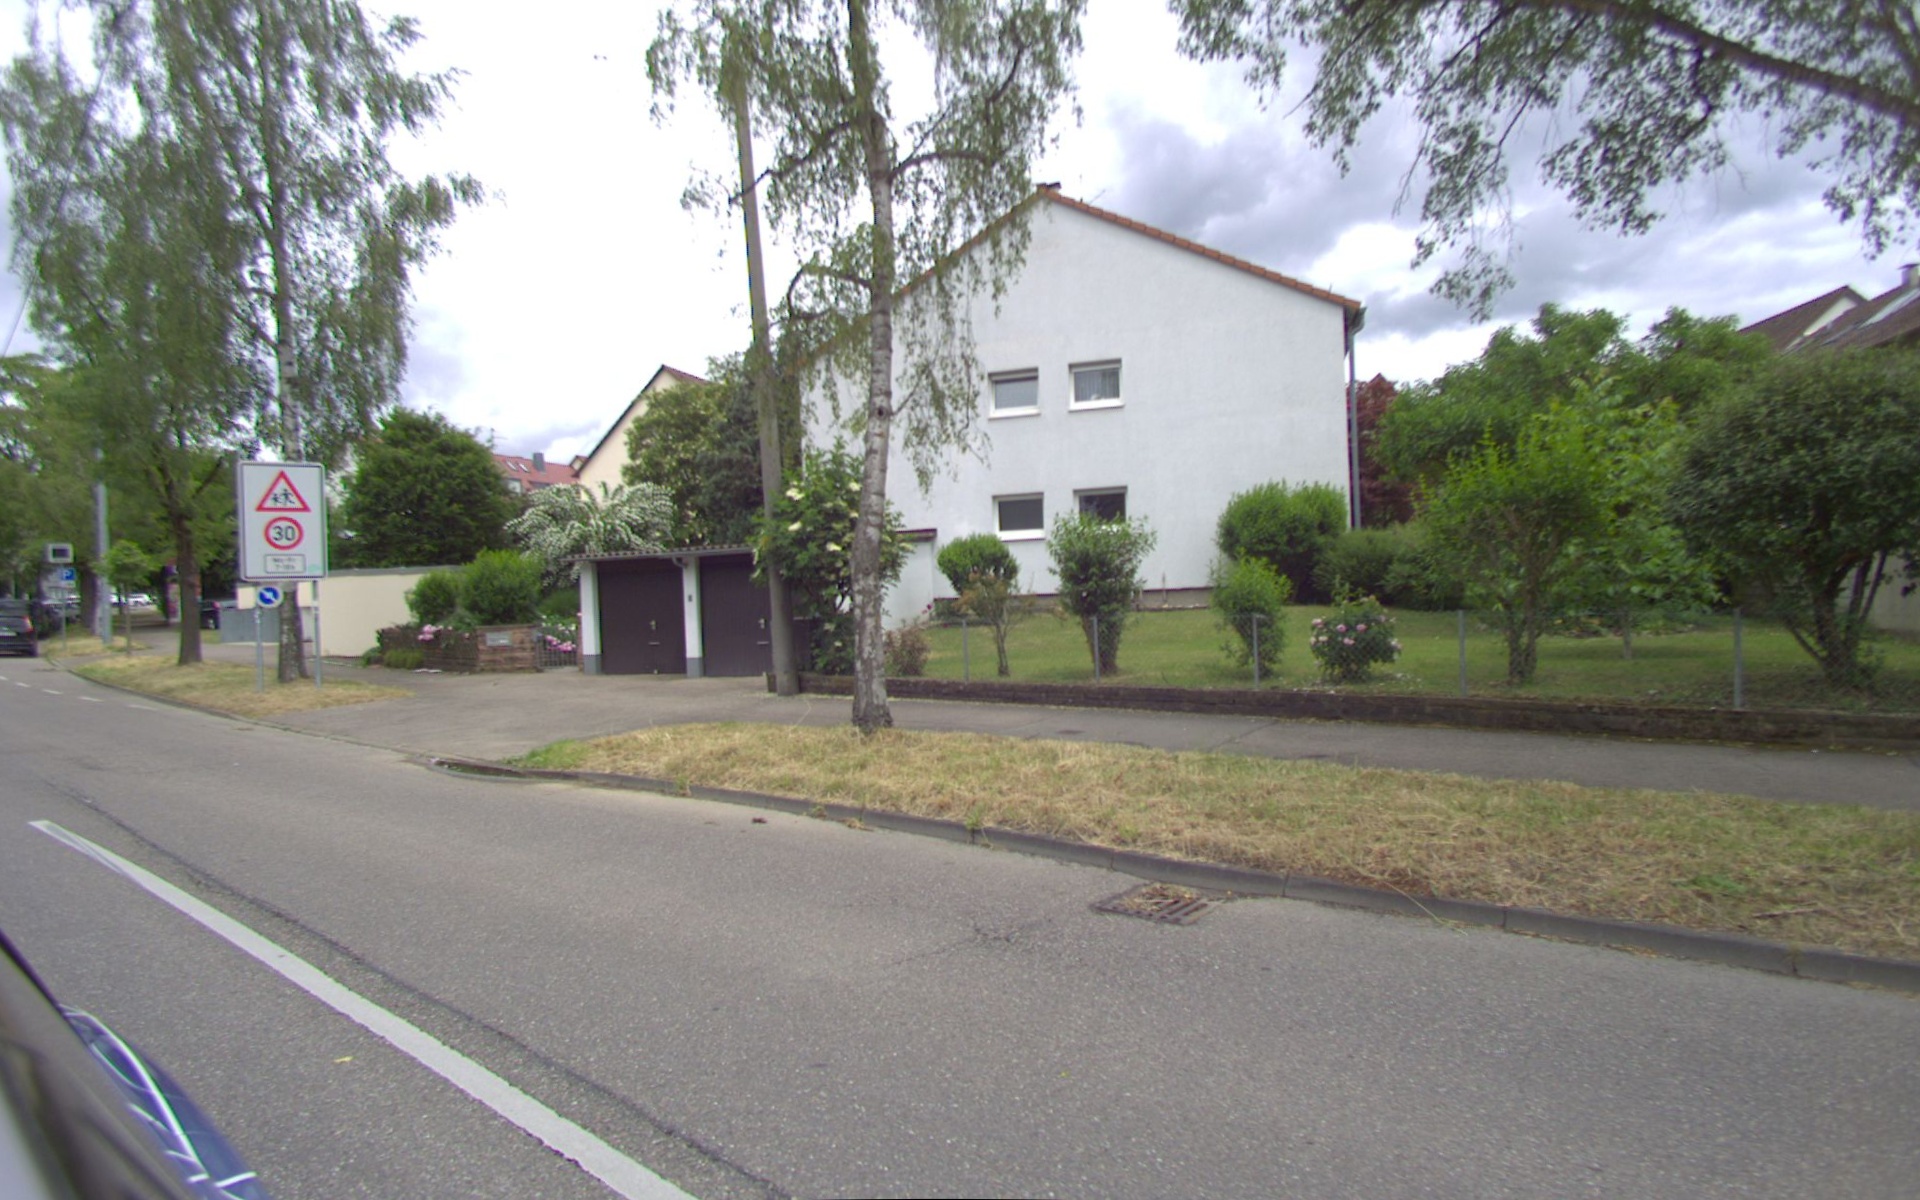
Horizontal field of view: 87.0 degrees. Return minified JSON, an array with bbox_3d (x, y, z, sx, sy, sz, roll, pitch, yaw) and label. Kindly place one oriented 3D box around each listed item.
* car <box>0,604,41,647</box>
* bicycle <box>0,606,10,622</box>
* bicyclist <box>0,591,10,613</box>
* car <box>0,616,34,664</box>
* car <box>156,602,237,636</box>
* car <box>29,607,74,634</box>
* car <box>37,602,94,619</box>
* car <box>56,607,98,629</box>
[{"bbox_3d":[-45.043,1.166,48.063,1.835,1.923,5.091,-1,0,-40],"label":"car"},{"bbox_3d":[-77.412,1.099,81.772,0.637,1.246,1.882,-2,1,-34],"label":"bicycle"},{"bbox_3d":[-77.768,0.149,82.246,0.637,1.792,0.630,-1,1,-34],"label":"bicyclist"},{"bbox_3d":[-33.913,1.365,35.609,1.784,1.575,4.270,3,-2,-44],"label":"car"},{"bbox_3d":[-37.588,0.924,49.802,3.975,1.488,1.761,-1,4,31],"label":"car"},{"bbox_3d":[-58.377,1.287,65.085,1.712,1.590,4.151,0,0,-35],"label":"car"},{"bbox_3d":[-97.841,1.148,110.733,4.409,1.597,1.911,-4,2,-36],"label":"car"},{"bbox_3d":[-65.027,1.278,74.561,1.712,1.549,4.201,0,0,-32],"label":"car"}]
